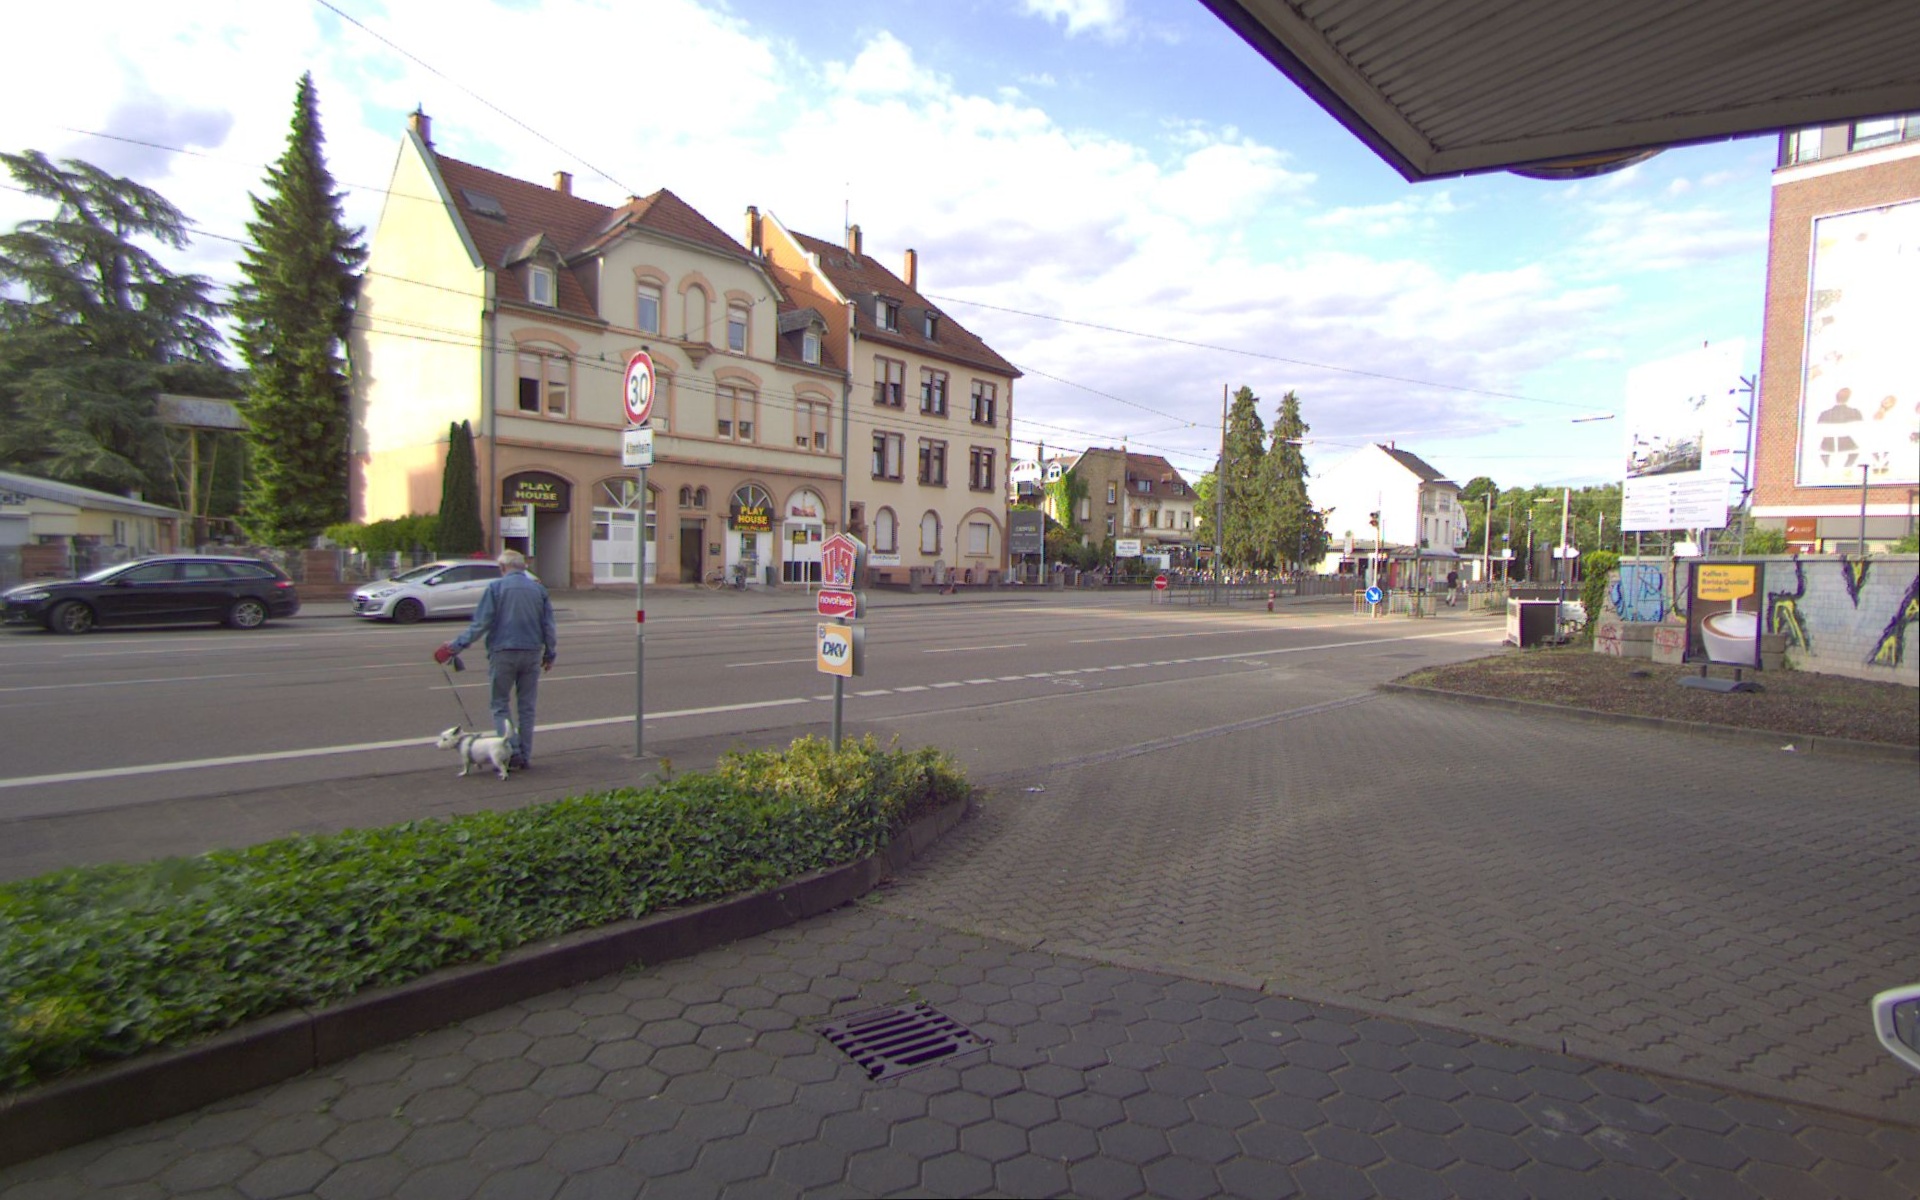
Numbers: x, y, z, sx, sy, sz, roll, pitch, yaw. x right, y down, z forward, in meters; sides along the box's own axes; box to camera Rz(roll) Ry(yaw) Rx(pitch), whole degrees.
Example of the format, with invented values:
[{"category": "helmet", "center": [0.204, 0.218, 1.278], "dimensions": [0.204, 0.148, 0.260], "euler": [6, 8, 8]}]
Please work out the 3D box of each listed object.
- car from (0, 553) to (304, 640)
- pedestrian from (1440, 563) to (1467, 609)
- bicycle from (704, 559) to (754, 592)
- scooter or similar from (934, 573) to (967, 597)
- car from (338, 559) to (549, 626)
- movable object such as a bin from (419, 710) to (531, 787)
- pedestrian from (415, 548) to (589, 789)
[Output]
[{"category": "car", "center": [-16.597, -0.138, 20.735], "dimensions": [1.983, 1.520, 4.755], "euler": [4, 4, 39]}, {"category": "pedestrian", "center": [22.426, -0.647, 45.657], "dimensions": [0.843, 2.040, 0.800], "euler": [2, 0, -37]}, {"category": "bicycle", "center": [-9.103, -0.957, 39.611], "dimensions": [0.665, 1.229, 1.862], "euler": [4, 2, 41]}, {"category": "scooter or similar", "center": [-0.432, -0.668, 45.112], "dimensions": [0.461, 1.041, 1.655], "euler": [4, 3, 40]}, {"category": "car", "center": [-12.917, -0.235, 25.357], "dimensions": [1.699, 1.503, 4.434], "euler": [4, 4, 40]}, {"category": "movable object such as a bin", "center": [-3.653, 1.105, 7.566], "dimensions": [0.668, 0.426, 0.480], "euler": [3, 3, 32]}, {"category": "pedestrian", "center": [-3.537, 0.465, 7.747], "dimensions": [0.996, 1.690, 0.959], "euler": [-1, 3, -41]}]
